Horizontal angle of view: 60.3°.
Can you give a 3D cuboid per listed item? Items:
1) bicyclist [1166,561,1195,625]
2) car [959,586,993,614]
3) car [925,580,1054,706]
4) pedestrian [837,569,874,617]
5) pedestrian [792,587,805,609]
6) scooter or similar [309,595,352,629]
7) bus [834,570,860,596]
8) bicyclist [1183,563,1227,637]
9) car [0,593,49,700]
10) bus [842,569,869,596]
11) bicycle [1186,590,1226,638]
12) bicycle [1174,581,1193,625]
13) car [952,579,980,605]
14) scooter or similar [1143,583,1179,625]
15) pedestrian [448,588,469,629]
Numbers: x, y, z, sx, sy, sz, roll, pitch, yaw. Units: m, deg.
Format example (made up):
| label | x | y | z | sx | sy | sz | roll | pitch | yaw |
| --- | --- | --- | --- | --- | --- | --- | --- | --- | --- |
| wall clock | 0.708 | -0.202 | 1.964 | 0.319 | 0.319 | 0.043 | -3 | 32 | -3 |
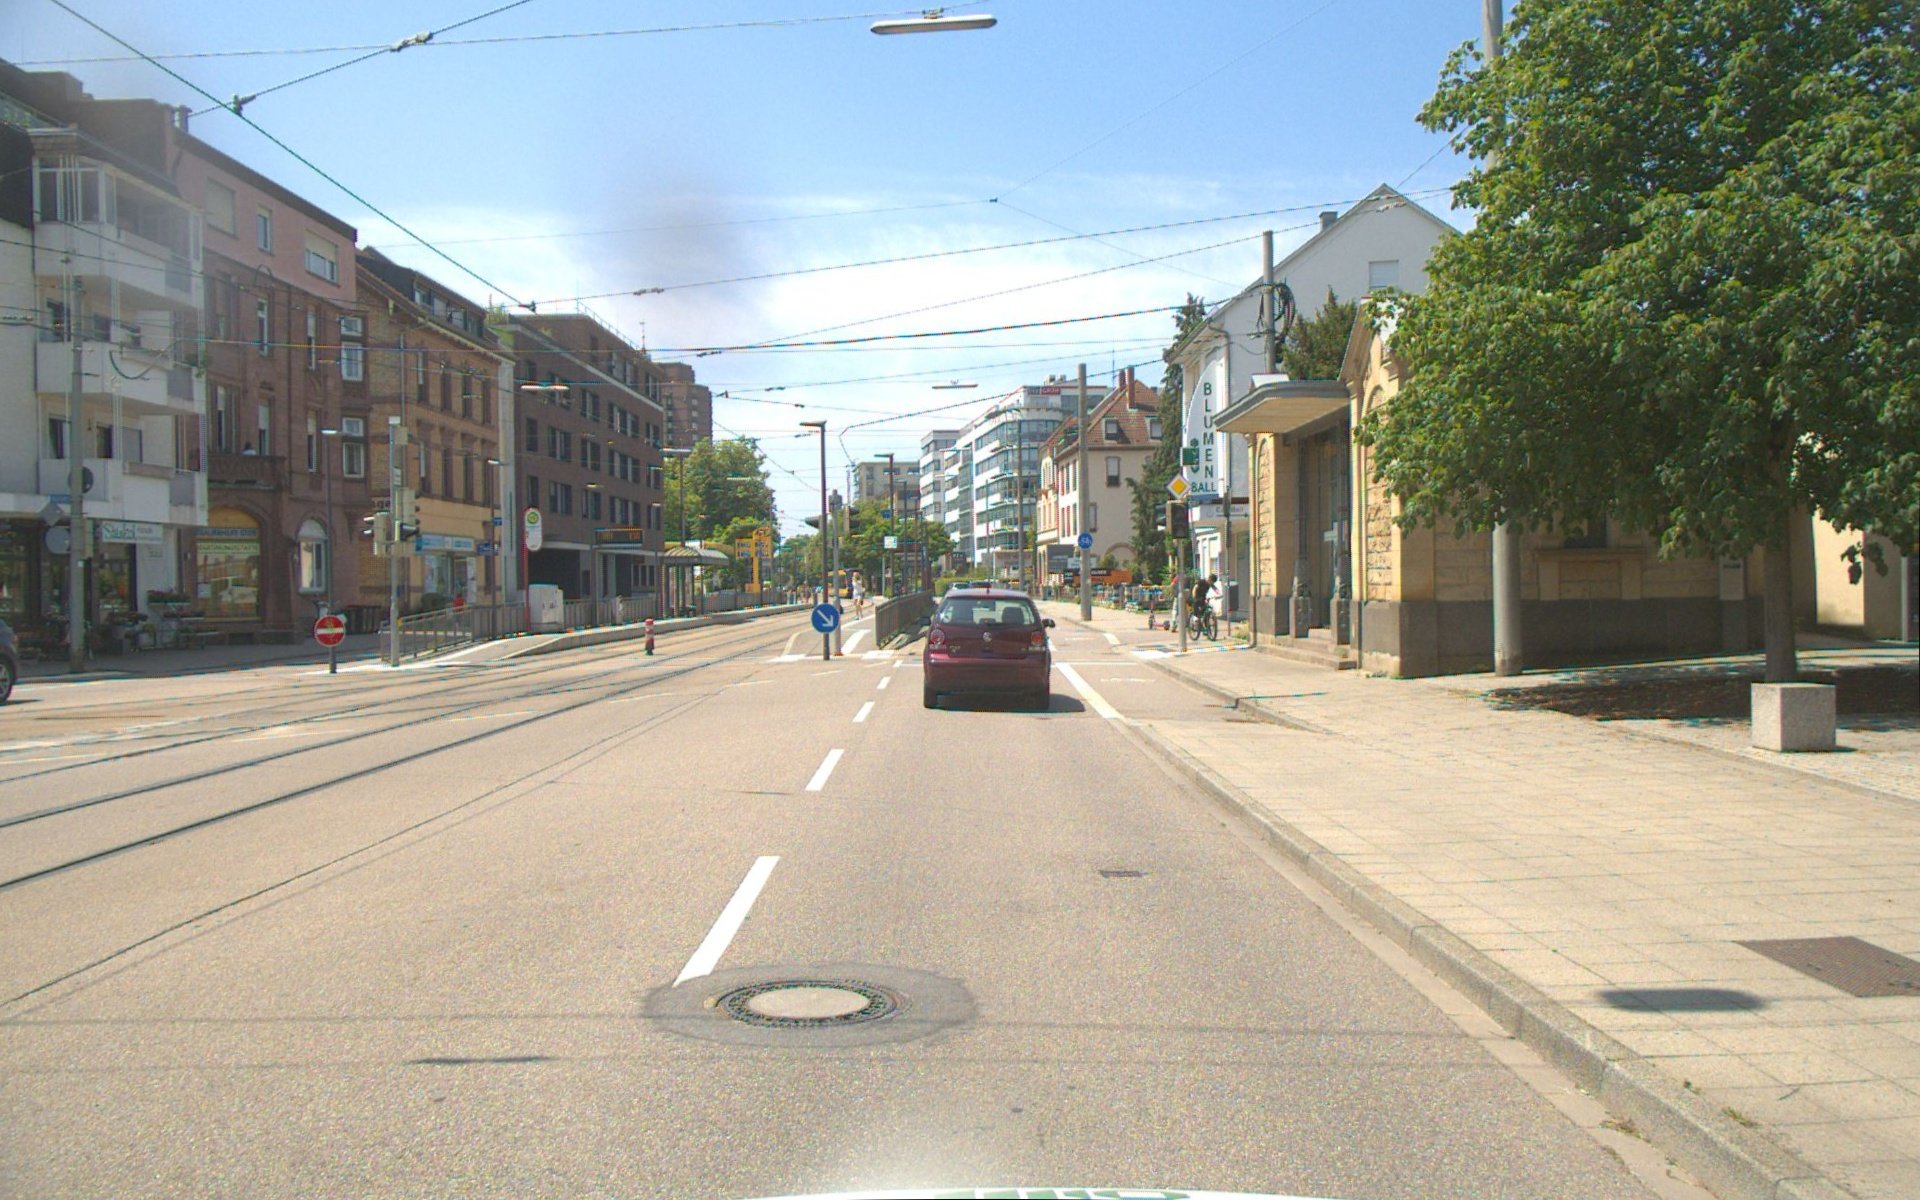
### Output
| label | x | y | z | sx | sy | sz | roll | pitch | yaw |
| --- | --- | --- | --- | --- | --- | --- | --- | --- | --- |
| bicyclist | 6.332 | -0.200 | 47.472 | 0.711 | 1.791 | 0.925 | -1 | 1 | 11 |
| car | 0.965 | -0.018 | 101.355 | 1.953 | 1.653 | 4.631 | -1 | 0 | -1 |
| car | 0.340 | 0.504 | 21.378 | 1.529 | 1.479 | 3.061 | -1 | 0 | -1 |
| pedestrian | -3.747 | -0.269 | 59.544 | 1.088 | 1.704 | 0.756 | -1 | 0 | -36 |
| pedestrian | -15.610 | -0.177 | 160.129 | 1.086 | 2.049 | 1.039 | -1 | 0 | 1 |
| scooter or similar | -21.247 | 0.403 | 55.830 | 0.477 | 1.101 | 1.578 | -1 | 1 | 17 |
| bus | -13.710 | -1.981 | 200.164 | 2.194 | 3.055 | 6.573 | -1 | 0 | -12 |
| bicyclist | 5.757 | -0.008 | 38.894 | 0.815 | 1.646 | 0.860 | -5 | 1 | 2 |
| car | -15.430 | 0.742 | 24.001 | 1.756 | 1.607 | 4.496 | -1 | 1 | 2 |
| bus | -12.296 | -2.005 | 193.776 | 2.108 | 3.055 | 6.552 | -1 | 0 | -12 |
| bicycle | 5.761 | 0.317 | 38.816 | 0.654 | 1.020 | 1.864 | -5 | 1 | 2 |
| bicycle | 6.404 | 0.081 | 47.376 | 0.367 | 1.218 | 1.907 | -1 | 1 | 12 |
| car | 0.456 | -0.626 | 128.358 | 1.953 | 1.881 | 3.999 | -1 | 1 | -2 |
| scooter or similar | 5.830 | 0.119 | 48.080 | 0.335 | 1.198 | 1.457 | -1 | 0 | -23 |
| pedestrian | -19.730 | 0.346 | 65.110 | 0.602 | 1.588 | 0.640 | -1 | 1 | 0 |
